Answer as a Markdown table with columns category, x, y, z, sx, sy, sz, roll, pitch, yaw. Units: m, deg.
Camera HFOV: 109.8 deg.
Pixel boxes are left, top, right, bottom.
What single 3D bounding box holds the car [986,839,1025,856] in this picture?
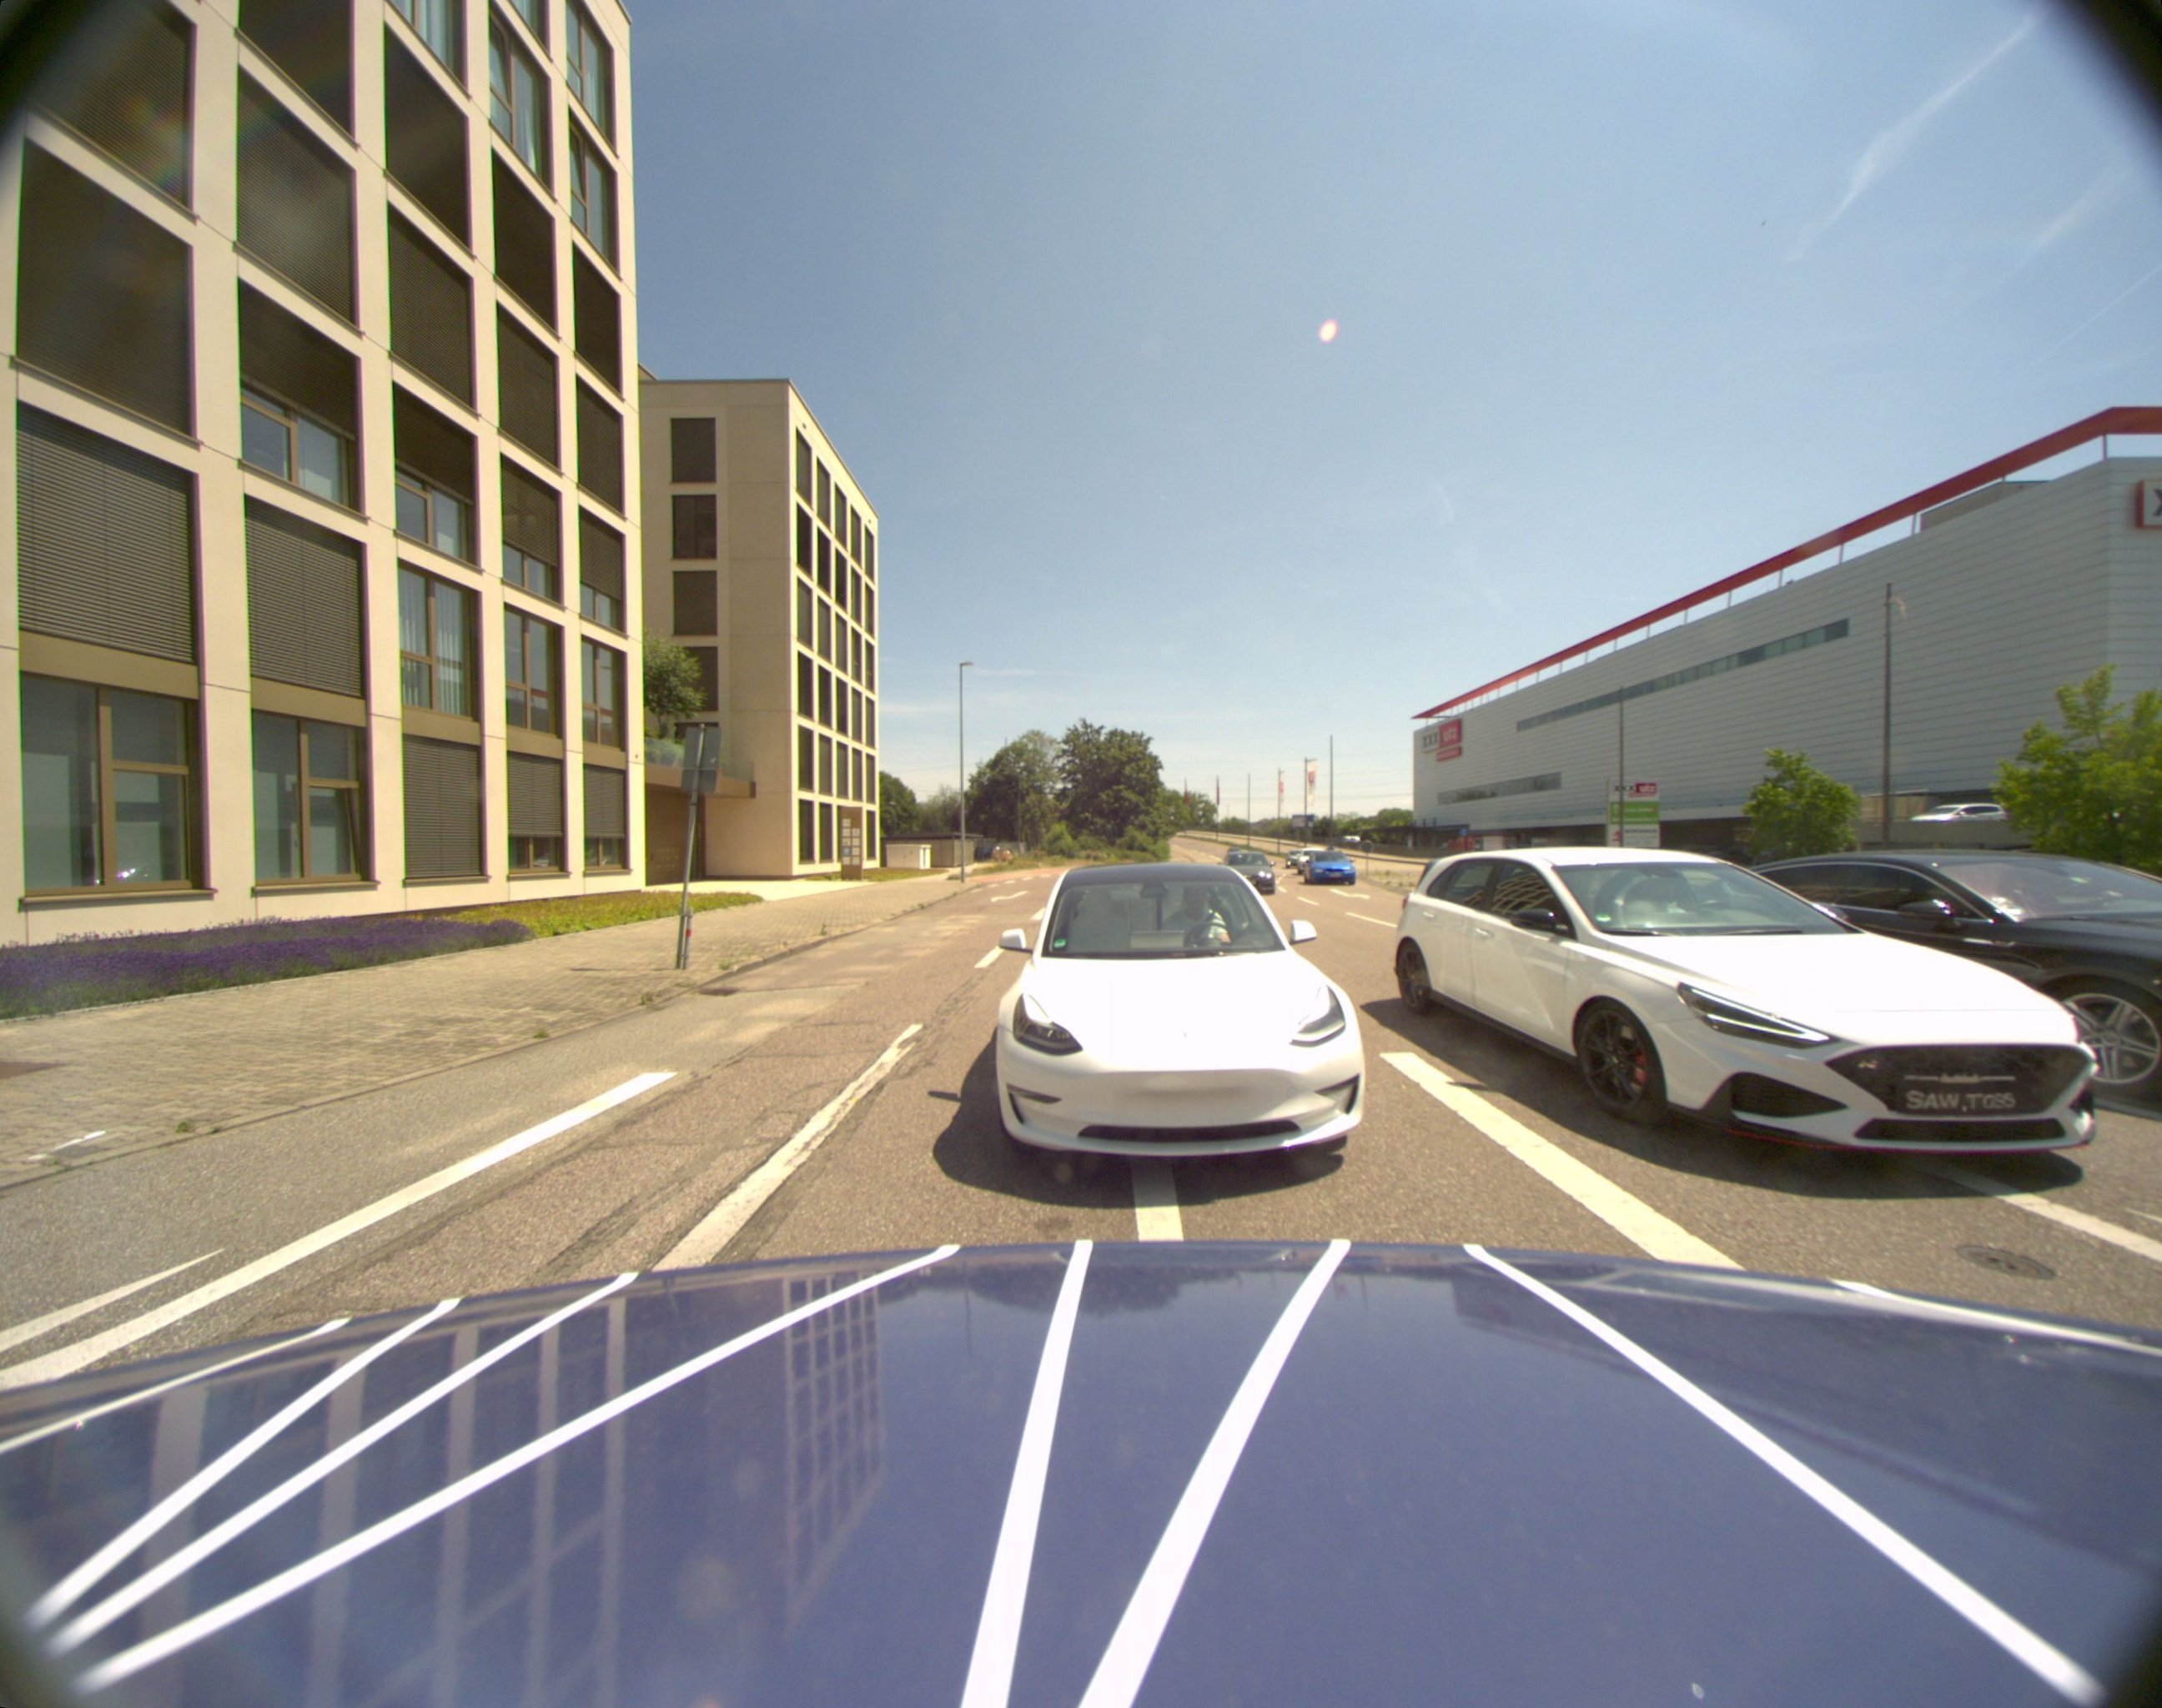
| category | x | y | z | sx | sy | sz | roll | pitch | yaw |
| --- | --- | --- | --- | --- | --- | --- | --- | --- | --- |
| car | -8.575 | -0.759 | 86.093 | 4.005 | 1.942 | 1.996 | 0 | 1 | -24 |

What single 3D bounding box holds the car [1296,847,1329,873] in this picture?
| category | x | y | z | sx | sy | sz | roll | pitch | yaw |
| --- | --- | --- | --- | --- | --- | --- | --- | --- | --- |
| car | 14.564 | 0.347 | 47.970 | 1.677 | 1.566 | 4.060 | -1 | 1 | 13 |

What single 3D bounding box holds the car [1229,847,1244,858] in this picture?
| category | x | y | z | sx | sy | sz | roll | pitch | yaw |
| --- | --- | --- | --- | --- | --- | --- | --- | --- | --- |
| car | 18.555 | -0.202 | 90.942 | 1.474 | 1.183 | 3.352 | -1 | 3 | 7 |

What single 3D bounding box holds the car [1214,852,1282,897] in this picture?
| category | x | y | z | sx | sy | sz | roll | pitch | yaw |
| --- | --- | --- | --- | --- | --- | --- | --- | --- | --- |
| car | 5.638 | 0.642 | 26.077 | 1.801 | 1.369 | 4.408 | -1 | 1 | 6 |

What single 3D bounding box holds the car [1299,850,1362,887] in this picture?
| category | x | y | z | sx | sy | sz | roll | pitch | yaw |
| --- | --- | --- | --- | --- | --- | --- | --- | --- | --- |
| car | 10.451 | 0.570 | 32.143 | 1.800 | 1.405 | 4.409 | 0 | 1 | 9 |

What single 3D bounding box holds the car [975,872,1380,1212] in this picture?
| category | x | y | z | sx | sy | sz | roll | pitch | yaw |
| --- | --- | --- | --- | --- | --- | --- | --- | --- | --- |
| car | 0.413 | 0.940 | 5.793 | 1.880 | 1.417 | 4.405 | -2 | 0 | -1 |

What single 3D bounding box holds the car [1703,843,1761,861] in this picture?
| category | x | y | z | sx | sy | sz | roll | pitch | yaw |
| --- | --- | --- | --- | --- | --- | --- | --- | --- | --- |
| car | 61.176 | -0.217 | 71.417 | 3.746 | 1.611 | 1.912 | 0 | 1 | 1 |

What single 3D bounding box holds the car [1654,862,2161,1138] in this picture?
| category | x | y | z | sx | sy | sz | roll | pitch | yaw |
| --- | --- | --- | --- | --- | --- | --- | --- | --- | --- |
| car | 6.635 | 0.790 | 5.461 | 1.752 | 1.382 | 4.534 | -1 | 0 | 3 |

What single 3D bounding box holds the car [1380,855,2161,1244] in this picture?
| category | x | y | z | sx | sy | sz | roll | pitch | yaw |
| --- | --- | --- | --- | --- | --- | --- | --- | --- | --- |
| car | 3.670 | 0.761 | 5.040 | 1.735 | 1.441 | 4.230 | -1 | 0 | 1 |

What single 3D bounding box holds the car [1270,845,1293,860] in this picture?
| category | x | y | z | sx | sy | sz | roll | pitch | yaw |
| --- | --- | --- | --- | --- | --- | --- | --- | --- | --- |
| car | 21.954 | -0.162 | 83.330 | 1.837 | 1.652 | 4.001 | 0 | 1 | 6 |

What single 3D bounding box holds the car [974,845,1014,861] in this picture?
| category | x | y | z | sx | sy | sz | roll | pitch | yaw |
| --- | --- | --- | --- | --- | --- | --- | --- | --- | --- |
| car | -9.396 | -0.151 | 82.043 | 4.005 | 1.652 | 1.834 | 0 | 1 | -23 |

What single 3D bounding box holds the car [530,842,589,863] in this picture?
| category | x | y | z | sx | sy | sz | roll | pitch | yaw |
| --- | --- | --- | --- | --- | --- | --- | --- | --- | --- |
| car | -46.170 | -0.169 | 67.385 | 1.997 | 1.841 | 4.003 | 0 | 1 | 10 |
